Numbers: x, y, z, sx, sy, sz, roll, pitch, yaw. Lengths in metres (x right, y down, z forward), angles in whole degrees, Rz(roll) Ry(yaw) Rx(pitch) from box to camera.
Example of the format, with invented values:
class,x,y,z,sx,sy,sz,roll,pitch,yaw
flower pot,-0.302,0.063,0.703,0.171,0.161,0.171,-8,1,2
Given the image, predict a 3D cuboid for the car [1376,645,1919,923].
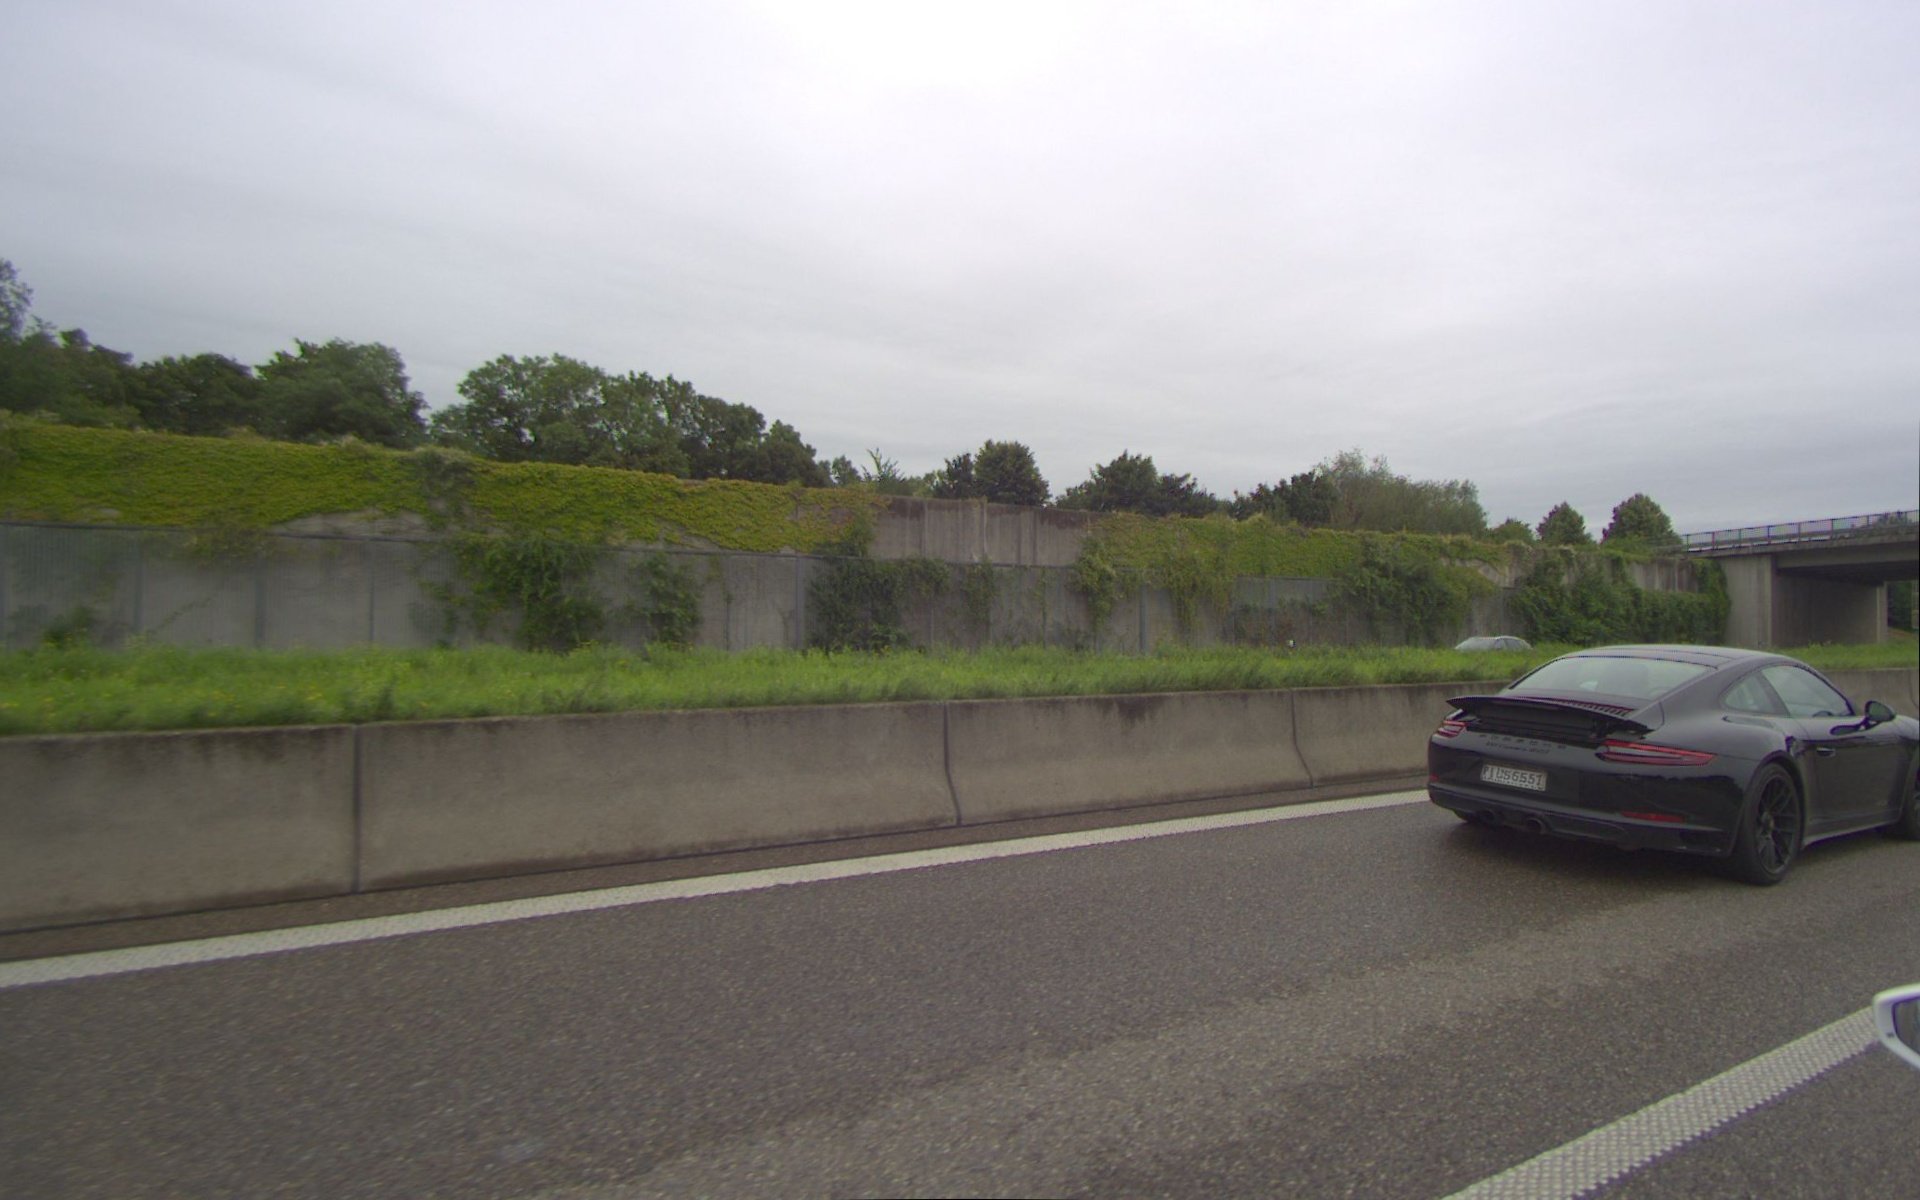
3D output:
class,x,y,z,sx,sy,sz,roll,pitch,yaw
car,5.151,1.001,6.925,4.868,1.289,1.643,2,0,-31
